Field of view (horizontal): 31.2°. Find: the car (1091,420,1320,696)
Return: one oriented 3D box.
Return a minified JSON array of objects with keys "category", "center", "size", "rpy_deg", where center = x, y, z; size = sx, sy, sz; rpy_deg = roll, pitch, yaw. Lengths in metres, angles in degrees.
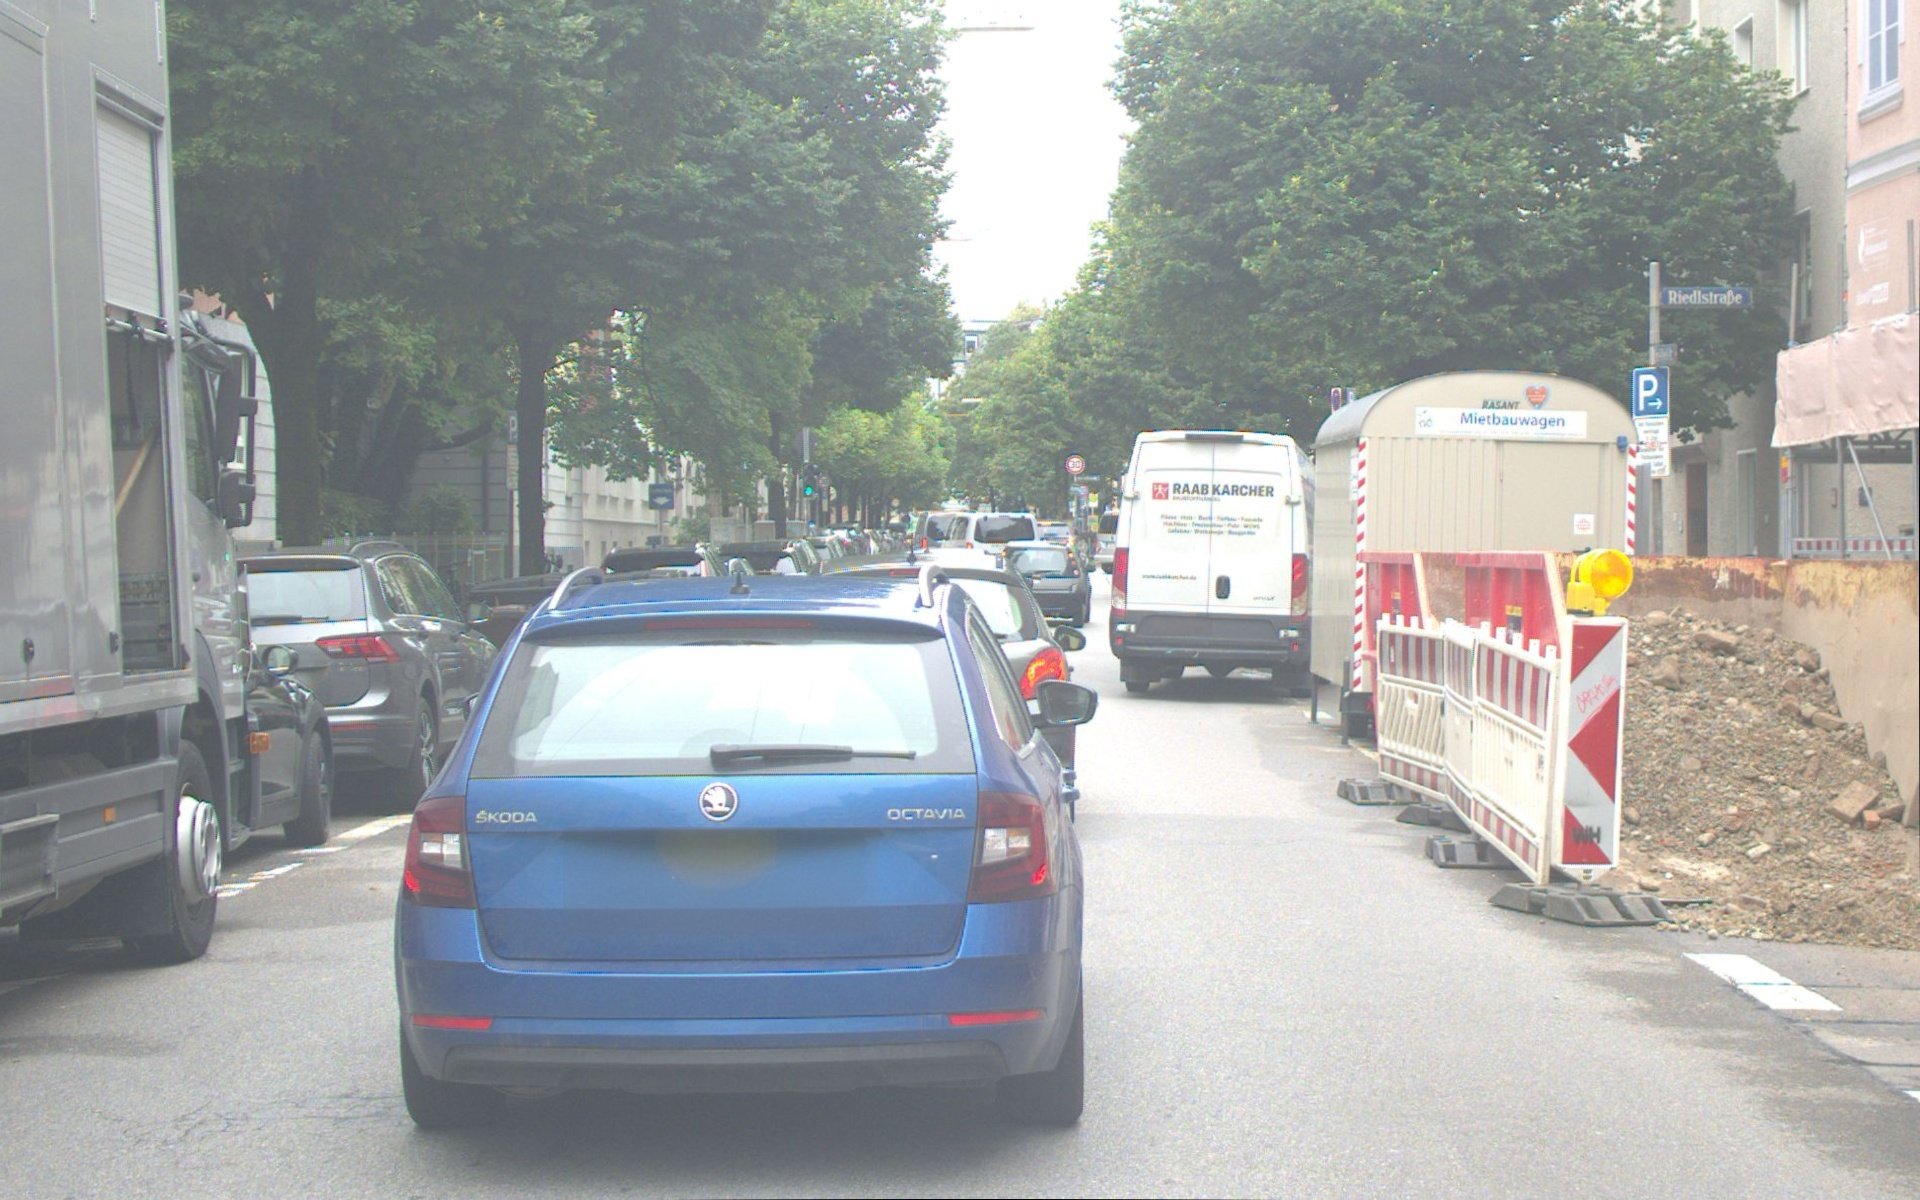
[{"category":"car","center":[2.684,-0.430,36.360],"size":[2.113,2.654,5.498],"rpy_deg":[1,0,7]}]

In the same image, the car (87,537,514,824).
[{"category":"car","center":[-4.090,0.430,21.982],"size":[1.785,1.622,4.185],"rpy_deg":[-1,1,2]}]

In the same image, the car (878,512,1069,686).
[{"category":"car","center":[0.146,-0.063,36.340],"size":[1.867,1.690,4.347],"rpy_deg":[1,1,0]}]

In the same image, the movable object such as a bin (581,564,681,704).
[{"category":"movable object such as a bin","center":[-3.369,0.336,35.284],"size":[0.918,1.372,1.080],"rpy_deg":[-2,1,-3]}]

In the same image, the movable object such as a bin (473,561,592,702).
[{"category":"movable object such as a bin","center":[-4.366,0.309,35.217],"size":[1.081,1.372,1.084],"rpy_deg":[-2,1,-3]}]

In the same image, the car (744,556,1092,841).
[{"category":"car","center":[-0.173,0.476,19.216],"size":[1.741,1.417,3.664],"rpy_deg":[1,1,1]}]

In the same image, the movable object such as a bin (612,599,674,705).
[{"category":"movable object such as a bin","center":[-3.173,0.519,34.428],"size":[0.546,1.017,0.636],"rpy_deg":[-2,1,-2]}]

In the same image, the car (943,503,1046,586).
[{"category":"car","center":[0.783,-1.320,80.667],"size":[1.867,1.863,4.348],"rpy_deg":[1,1,-6]}]

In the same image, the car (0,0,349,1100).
[{"category":"car","center":[-4.072,-0.517,10.297],"size":[2.812,3.804,8.723],"rpy_deg":[-1,1,1]}]

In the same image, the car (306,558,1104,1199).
[{"category":"car","center":[-0.562,0.617,9.926],"size":[1.789,1.455,4.314],"rpy_deg":[-1,1,0]}]

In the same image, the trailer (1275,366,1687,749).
[{"category":"trailer","center":[4.225,-0.346,29.236],"size":[2.502,2.830,6.901],"rpy_deg":[1,0,1]}]

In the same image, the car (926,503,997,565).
[{"category":"car","center":[0.028,-1.850,95.429],"size":[1.867,1.647,4.348],"rpy_deg":[1,1,-1]}]

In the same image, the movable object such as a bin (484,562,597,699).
[{"category":"movable object such as a bin","center":[-4.423,0.314,36.319],"size":[1.057,1.372,1.096],"rpy_deg":[-2,1,-3]}]

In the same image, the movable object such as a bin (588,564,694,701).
[{"category":"movable object such as a bin","center":[-3.366,0.332,36.382],"size":[1.020,1.372,1.104],"rpy_deg":[-2,1,-3]}]

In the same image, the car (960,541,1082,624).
[{"category":"car","center":[1.030,-0.332,60.165],"size":[1.867,1.343,4.348],"rpy_deg":[1,1,-2]}]

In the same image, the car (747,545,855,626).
[{"category":"car","center":[-3.008,-0.299,65.871],"size":[1.812,1.473,4.000],"rpy_deg":[0,1,1]}]

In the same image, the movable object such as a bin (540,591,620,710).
[{"category":"movable object such as a bin","center":[-3.792,0.502,34.378],"size":[0.711,1.144,0.636],"rpy_deg":[-2,1,-2]}]

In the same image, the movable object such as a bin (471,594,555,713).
[{"category":"movable object such as a bin","center":[-4.460,0.528,34.335],"size":[0.721,1.134,0.658],"rpy_deg":[-2,1,-2]}]

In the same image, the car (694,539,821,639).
[{"category":"car","center":[-3.140,-0.198,53.830],"size":[1.812,1.473,4.000],"rpy_deg":[0,1,-1]}]

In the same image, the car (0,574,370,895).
[{"category":"car","center":[-4.204,0.591,17.177],"size":[1.699,1.404,3.708],"rpy_deg":[-1,1,3]}]

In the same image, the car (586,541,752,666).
[{"category":"car","center":[-3.602,0.010,43.105],"size":[1.812,1.473,4.000],"rpy_deg":[0,1,-1]}]

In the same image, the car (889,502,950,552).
[{"category":"car","center":[-1.408,-2.508,118.339],"size":[2.008,1.647,4.348],"rpy_deg":[1,1,-1]}]

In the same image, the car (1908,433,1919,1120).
[{"category":"car","center":[3.639,0.440,7.083],"size":[2.082,1.914,5.140],"rpy_deg":[1,-1,2]}]
